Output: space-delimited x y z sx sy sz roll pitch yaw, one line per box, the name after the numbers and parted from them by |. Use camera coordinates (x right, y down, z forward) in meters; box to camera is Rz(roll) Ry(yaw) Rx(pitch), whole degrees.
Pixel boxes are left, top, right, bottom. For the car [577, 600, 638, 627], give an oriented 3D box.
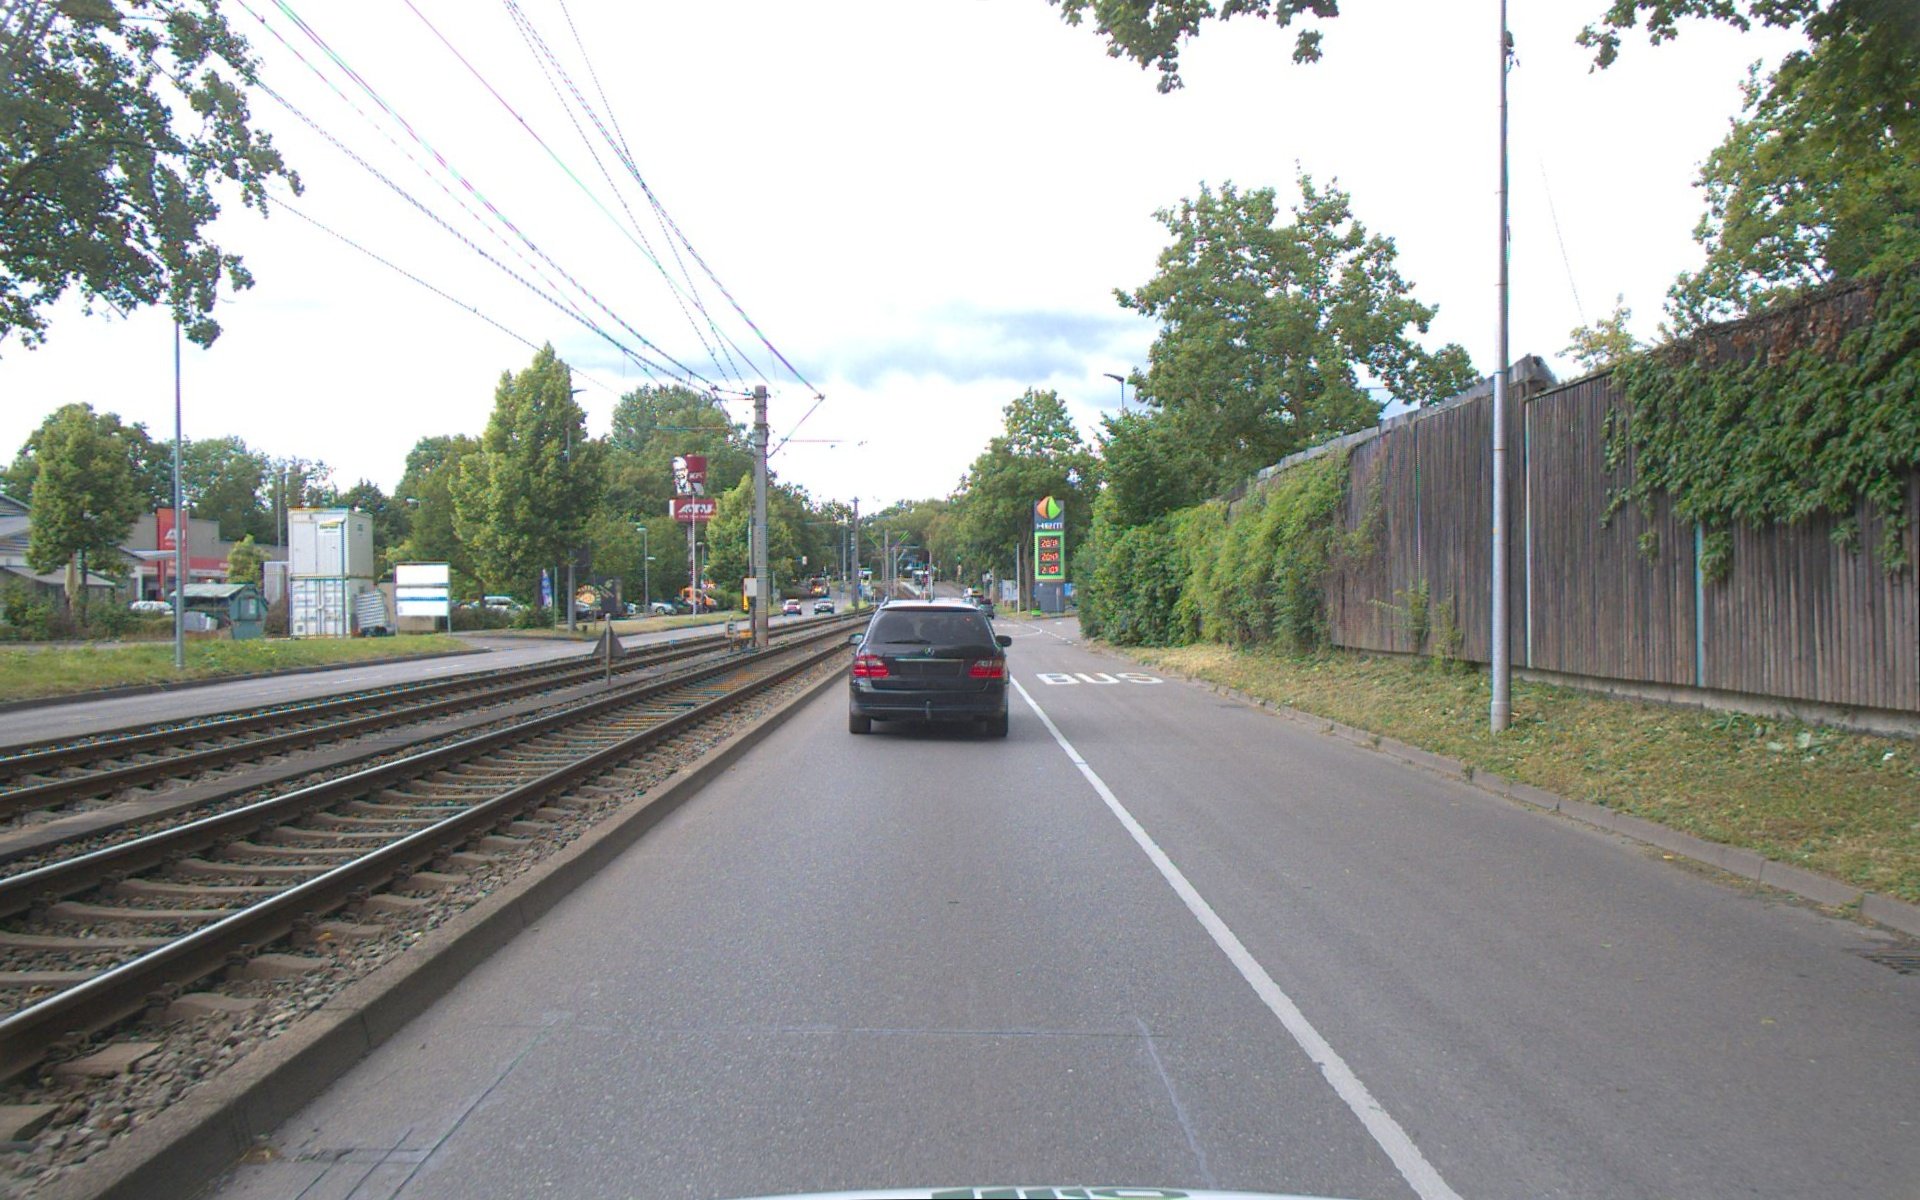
-24.442 0.926 114.810 3.909 1.829 1.876 -1 0 -5 | car

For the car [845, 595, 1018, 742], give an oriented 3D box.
-0.311 0.709 18.942 1.771 1.500 3.880 1 0 -1 | car

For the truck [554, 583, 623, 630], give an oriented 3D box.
-23.603 0.391 105.155 3.908 2.871 2.374 -1 0 -3 | truck

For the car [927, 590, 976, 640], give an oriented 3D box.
-0.329 0.570 62.285 1.744 1.781 3.717 1 -1 -1 | car

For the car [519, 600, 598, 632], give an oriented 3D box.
-23.359 0.921 96.358 4.136 1.757 1.994 -1 0 -3 | car

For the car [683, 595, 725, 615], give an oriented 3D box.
-24.994 0.445 161.683 3.909 1.829 1.876 -1 0 -5 | car

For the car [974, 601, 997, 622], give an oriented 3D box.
1.809 0.859 119.193 1.539 1.439 3.353 1 -1 -1 | car

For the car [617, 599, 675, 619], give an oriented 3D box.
-24.385 0.733 128.606 4.220 1.498 1.679 -1 0 -3 | car

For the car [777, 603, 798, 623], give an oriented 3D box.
-16.403 1.222 157.238 1.756 1.803 3.998 -1 0 -2 | car

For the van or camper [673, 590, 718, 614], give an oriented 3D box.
-24.723 0.220 154.673 3.909 2.172 1.876 -1 0 -5 | van or camper

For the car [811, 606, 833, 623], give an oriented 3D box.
-13.078 1.353 156.542 1.723 1.425 4.442 -3 0 -2 | car
